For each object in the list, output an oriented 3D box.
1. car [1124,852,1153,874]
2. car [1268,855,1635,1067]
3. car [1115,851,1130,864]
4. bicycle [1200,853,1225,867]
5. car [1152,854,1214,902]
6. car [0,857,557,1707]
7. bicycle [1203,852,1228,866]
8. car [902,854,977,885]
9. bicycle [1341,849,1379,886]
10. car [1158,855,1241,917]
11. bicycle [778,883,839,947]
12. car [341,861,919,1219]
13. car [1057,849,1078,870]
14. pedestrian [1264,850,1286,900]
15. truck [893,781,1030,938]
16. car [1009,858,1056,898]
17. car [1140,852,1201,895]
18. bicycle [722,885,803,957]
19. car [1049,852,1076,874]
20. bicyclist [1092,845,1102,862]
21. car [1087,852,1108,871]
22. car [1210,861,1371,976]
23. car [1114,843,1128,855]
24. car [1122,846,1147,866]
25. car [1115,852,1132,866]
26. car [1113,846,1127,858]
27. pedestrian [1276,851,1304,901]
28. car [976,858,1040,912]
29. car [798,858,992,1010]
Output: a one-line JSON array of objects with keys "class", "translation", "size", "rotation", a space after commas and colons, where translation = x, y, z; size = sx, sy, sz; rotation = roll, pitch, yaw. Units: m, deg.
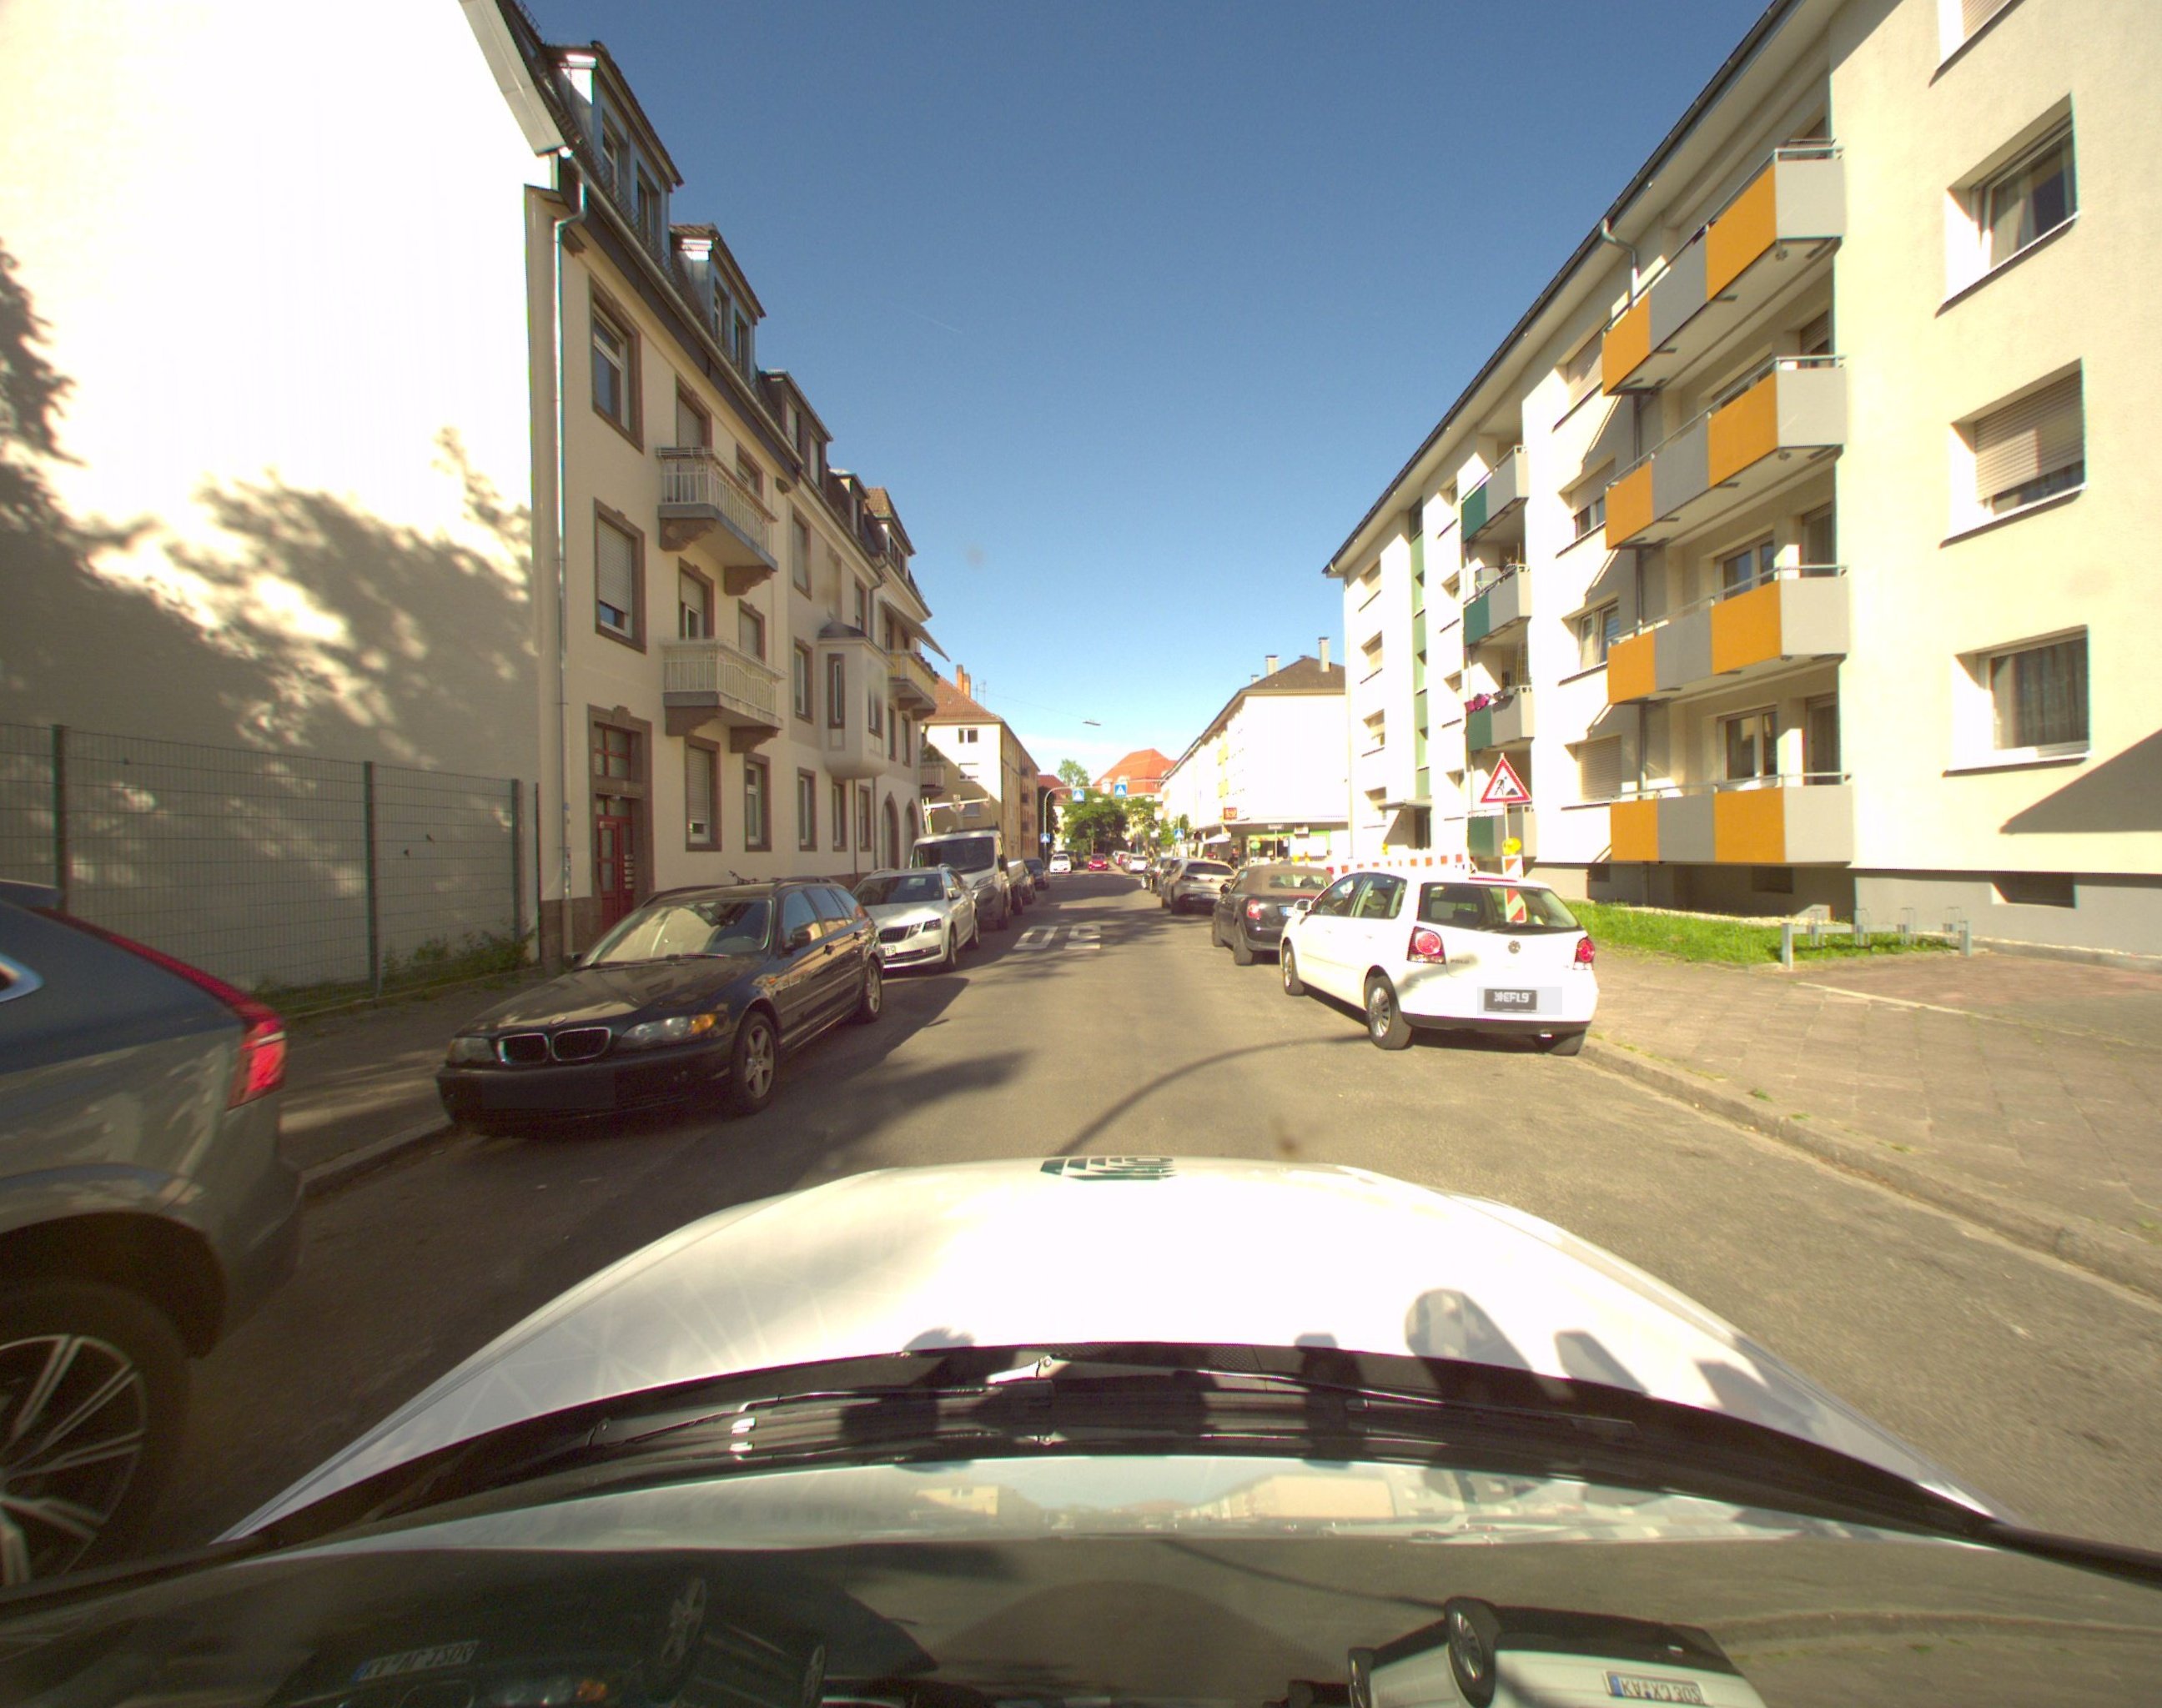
[{"class": "car", "translation": [4.277, 0.641, 61.046], "size": [1.839, 1.440, 3.419], "rotation": [-3, 1, 0]}, {"class": "car", "translation": [3.154, 0.792, 7.861], "size": [1.681, 1.462, 3.817], "rotation": [2, 0, -2]}, {"class": "car", "translation": [5.003, 0.415, 98.367], "size": [1.632, 1.440, 3.419], "rotation": [-2, 0, 0]}, {"class": "bicycle", "translation": [10.424, 0.481, 64.513], "size": [1.806, 0.967, 0.671], "rotation": [-3, 1, -10]}, {"class": "car", "translation": [3.436, 0.774, 28.074], "size": [1.639, 1.460, 3.940], "rotation": [-3, 0, 1]}, {"class": "car", "translation": [-2.963, 0.954, 0.551], "size": [1.873, 1.663, 4.931], "rotation": [-6, 1, 0]}, {"class": "bicycle", "translation": [10.537, 0.381, 63.847], "size": [1.806, 0.967, 0.671], "rotation": [-3, 1, -10]}, {"class": "car", "translation": [-8.015, 0.860, 46.078], "size": [3.989, 1.479, 1.586], "rotation": [-4, 1, -17]}, {"class": "bicycle", "translation": [9.624, 0.451, 28.155], "size": [0.558, 1.119, 1.899], "rotation": [-8, 1, 2]}, {"class": "car", "translation": [3.139, 0.798, 22.325], "size": [1.785, 1.471, 4.341], "rotation": [0, 0, 2]}, {"class": "bicycle", "translation": [-6.532, 1.427, 19.673], "size": [0.567, 1.279, 2.341], "rotation": [-3, 1, 1]}, {"class": "car", "translation": [-2.782, 0.983, 6.444], "size": [1.785, 1.562, 4.461], "rotation": [-8, 0, 2]}, {"class": "car", "translation": [-1.203, 0.531, 76.345], "size": [1.691, 1.778, 4.100], "rotation": [-3, 1, 2]}, {"class": "pedestrian", "translation": [5.849, 0.632, 24.544], "size": [0.502, 1.433, 0.453], "rotation": [-4, 1, 18]}, {"class": "truck", "translation": [-2.606, 0.086, 19.851], "size": [2.253, 2.986, 7.271], "rotation": [-3, 0, -2]}, {"class": "car", "translation": [-2.088, 1.000, 36.078], "size": [1.699, 1.415, 4.372], "rotation": [-7, 0, -1]}, {"class": "car", "translation": [3.518, 0.715, 32.864], "size": [1.848, 1.523, 4.776], "rotation": [-3, 0, 0]}, {"class": "bicycle", "translation": [-6.489, 1.322, 16.744], "size": [0.627, 1.203, 2.341], "rotation": [-3, 1, 1]}, {"class": "car", "translation": [-1.458, 0.690, 65.414], "size": [1.785, 1.480, 4.101], "rotation": [-4, 1, 2]}, {"class": "bicyclist", "translation": [1.589, -0.042, 79.047], "size": [0.782, 1.621, 0.958], "rotation": [-5, 1, 5]}, {"class": "car", "translation": [1.398, 0.604, 70.063], "size": [1.692, 1.440, 3.419], "rotation": [-3, 1, 0]}, {"class": "car", "translation": [3.086, 0.876, 12.679], "size": [1.682, 1.467, 3.584], "rotation": [0, 0, 2]}, {"class": "car", "translation": [5.263, -0.719, 107.782], "size": [1.632, 1.440, 3.419], "rotation": [-3, 1, 0]}, {"class": "car", "translation": [4.284, 0.165, 65.868], "size": [1.685, 1.440, 3.418], "rotation": [-3, 1, 0]}, {"class": "car", "translation": [4.801, 0.518, 92.218], "size": [1.632, 1.440, 3.419], "rotation": [-3, 1, 0]}, {"class": "car", "translation": [4.922, -0.277, 103.396], "size": [1.632, 1.440, 3.419], "rotation": [-3, 1, 0]}, {"class": "pedestrian", "translation": [6.312, 0.662, 24.565], "size": [0.569, 1.433, 0.474], "rotation": [-4, 2, 40]}, {"class": "car", "translation": [-2.346, 0.964, 26.946], "size": [1.641, 1.415, 4.079], "rotation": [-7, 0, -1]}, {"class": "car", "translation": [-2.600, 1.020, 12.604], "size": [1.787, 1.540, 4.640], "rotation": [-9, 1, -1]}]
